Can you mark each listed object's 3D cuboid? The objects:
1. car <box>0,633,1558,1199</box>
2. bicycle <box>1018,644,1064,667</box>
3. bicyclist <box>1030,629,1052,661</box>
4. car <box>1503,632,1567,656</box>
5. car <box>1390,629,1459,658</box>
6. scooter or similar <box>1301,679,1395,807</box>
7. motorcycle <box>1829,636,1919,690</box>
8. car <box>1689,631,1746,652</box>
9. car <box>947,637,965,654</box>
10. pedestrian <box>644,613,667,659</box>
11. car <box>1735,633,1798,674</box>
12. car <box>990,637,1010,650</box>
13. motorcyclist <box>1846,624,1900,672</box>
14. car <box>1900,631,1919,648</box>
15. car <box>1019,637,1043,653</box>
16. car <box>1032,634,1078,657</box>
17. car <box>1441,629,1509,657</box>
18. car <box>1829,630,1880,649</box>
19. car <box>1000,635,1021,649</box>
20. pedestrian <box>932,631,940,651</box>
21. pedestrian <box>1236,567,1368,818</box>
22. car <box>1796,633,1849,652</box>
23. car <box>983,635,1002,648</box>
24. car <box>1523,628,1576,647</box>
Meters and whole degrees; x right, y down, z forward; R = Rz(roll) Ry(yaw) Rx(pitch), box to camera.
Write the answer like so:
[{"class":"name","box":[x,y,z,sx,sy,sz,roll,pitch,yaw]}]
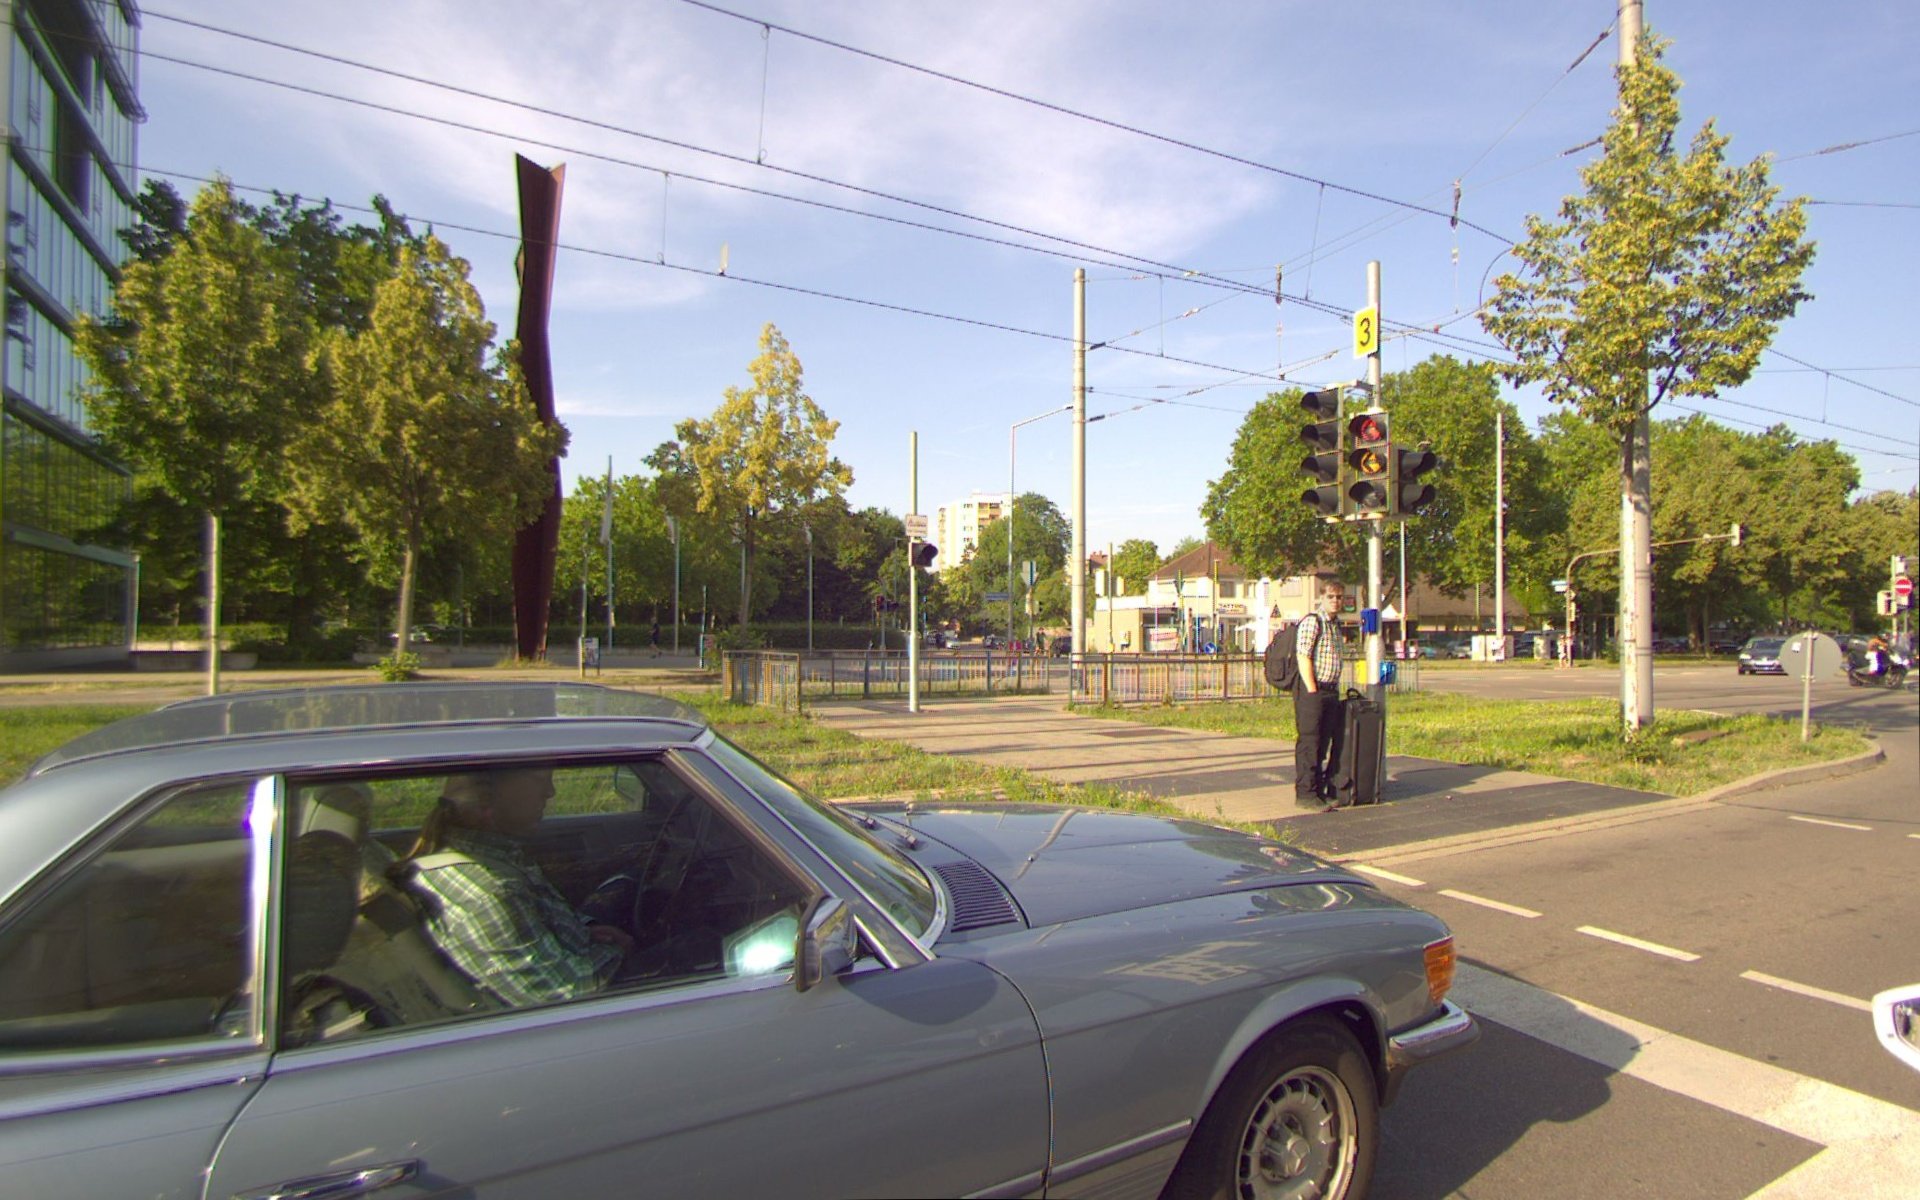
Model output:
[{"class":"car","box":[-0.780,0.786,2.187,4.349,1.348,1.755,1,0,-31]},{"class":"bicycle","box":[3.839,2.612,47.728,2.168,1.055,0.697,-1,-2,38]},{"class":"bicyclist","box":[3.854,2.143,47.731,0.836,1.512,0.697,-1,-2,38]},{"class":"car","box":[38.813,2.933,67.819,3.945,1.580,1.876,1,-2,-25]},{"class":"car","box":[29.202,2.718,63.129,3.945,1.773,1.876,1,-2,-25]},{"class":"scooter or similar","box":[3.073,1.113,7.969,0.424,0.919,0.546,1,0,-29]},{"class":"motorcycle","box":[24.327,1.641,26.758,0.805,1.280,2.550,1,0,17]},{"class":"car","box":[58.613,3.177,77.722,3.945,1.580,1.876,1,-2,-25]},{"class":"car","box":[-0.428,5.136,113.582,1.961,1.806,4.000,0,-2,-1]},{"class":"pedestrian","box":[-14.379,1.694,47.404,0.864,2.135,0.724,-1,-3,-1]},{"class":"car","box":[30.910,2.013,38.607,1.707,1.481,4.557,-2,-3,37]},{"class":"car","box":[4.661,5.108,117.653,1.667,1.491,3.941,0,-2,-8]},{"class":"motorcyclist","box":[24.337,1.268,26.790,0.769,1.219,0.848,1,1,16]},{"class":"car","box":[87.795,3.585,91.462,3.945,1.580,1.876,1,-2,-25]},{"class":"car","box":[7.047,4.455,100.311,1.667,1.491,3.941,0,-2,-8]},{"class":"car","box":[7.446,3.559,79.239,1.971,1.750,3.979,1,-2,-22]},{"class":"car","box":[33.426,2.770,65.205,3.945,1.773,1.876,1,-2,-25]},{"class":"car","box":[76.682,3.358,86.085,3.945,1.580,1.876,1,-2,-25]},{"class":"car","box":[5.575,4.703,111.824,1.667,1.491,3.941,0,-2,-8]},{"class":"pedestrian","box":[-2.053,3.509,85.567,0.654,1.654,0.664,0,-1,-2]},{"class":"pedestrian","box":[2.612,0.672,7.704,0.628,1.816,0.696,1,0,-29]},{"class":"car","box":[72.111,3.559,83.976,3.945,1.580,1.876,1,-2,-25]},{"class":"car","box":[3.955,5.067,123.442,1.667,1.491,3.941,0,-2,-8]},{"class":"car","box":[47.865,3.047,81.569,3.945,1.580,1.876,1,-2,-25]}]
